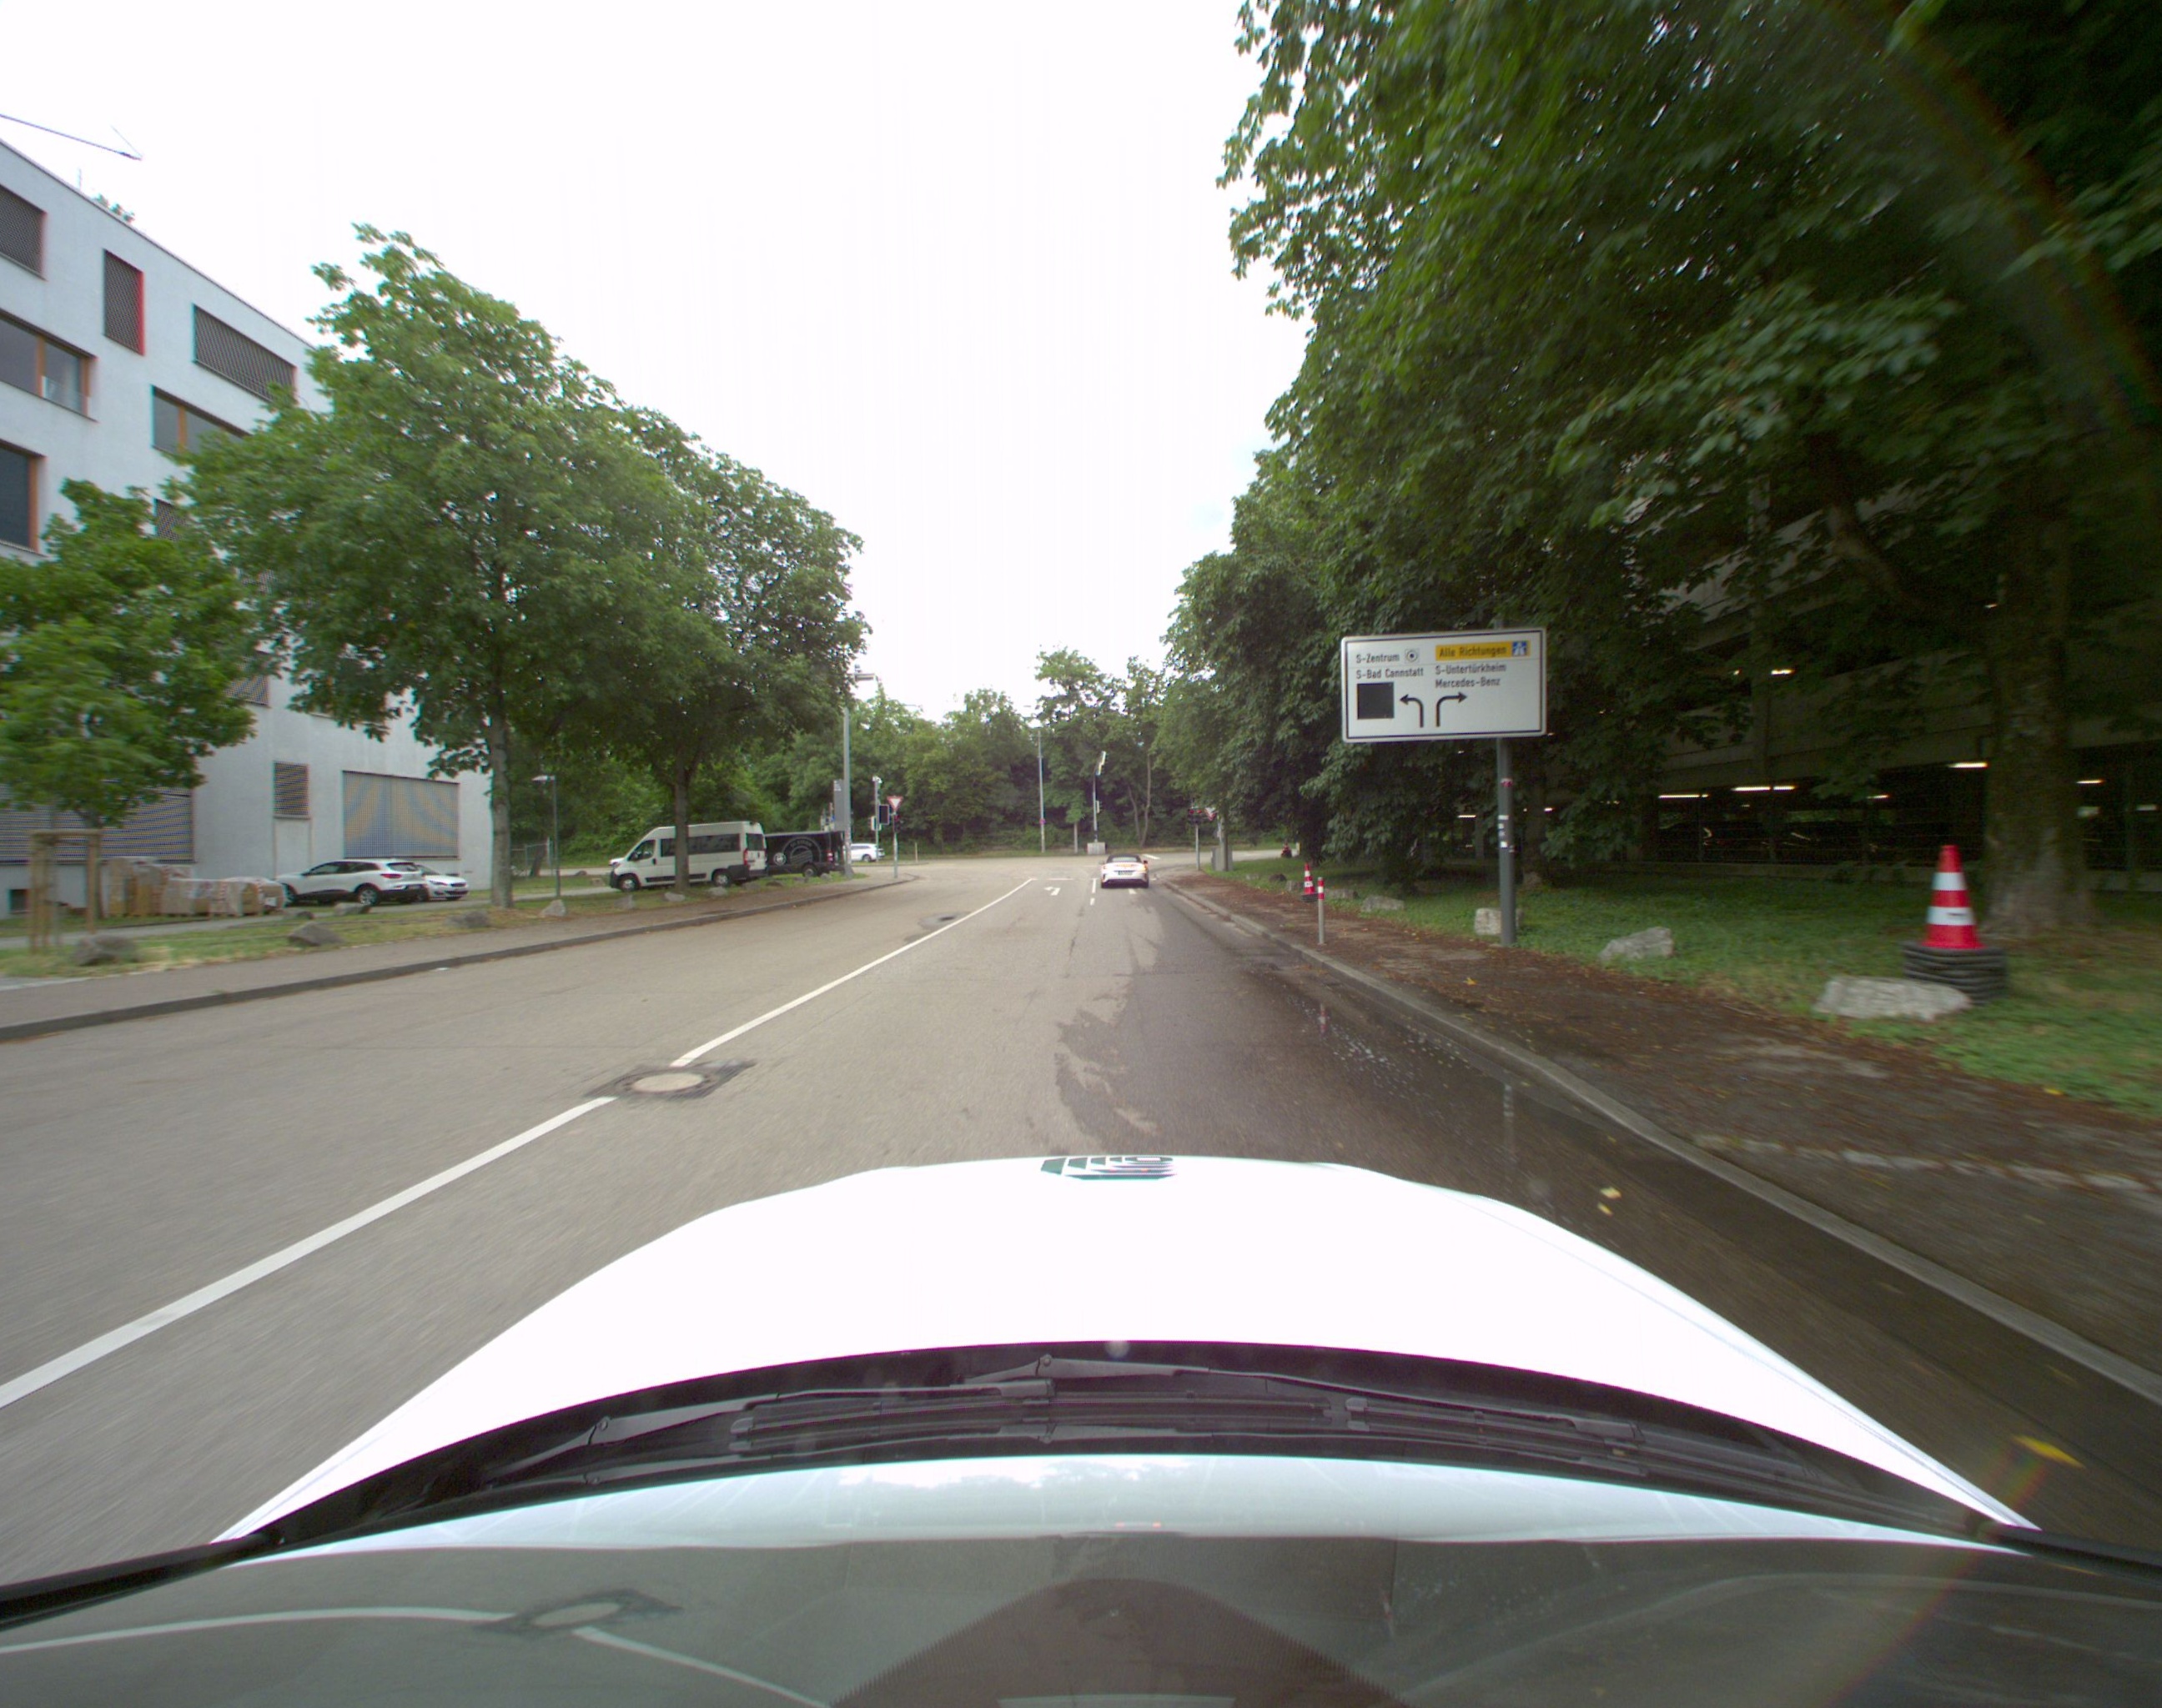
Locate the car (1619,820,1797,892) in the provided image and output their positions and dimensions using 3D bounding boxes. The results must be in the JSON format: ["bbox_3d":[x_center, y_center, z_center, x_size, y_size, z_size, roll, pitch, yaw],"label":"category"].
[{"bbox_3d":[19.186,0.101,25.253,1.986,2.014,4.675,0,-1,1],"label":"car"}]

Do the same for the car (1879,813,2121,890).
[{"bbox_3d":[22.162,-0.018,19.878,1.711,1.680,3.701,0,-1,0],"label":"car"}]

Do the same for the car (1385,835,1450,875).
[{"bbox_3d":[15.031,0.068,36.540,1.475,1.708,3.720,0,-1,2],"label":"car"}]

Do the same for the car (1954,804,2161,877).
[{"bbox_3d":[24.067,-0.255,19.799,1.711,1.607,3.701,0,-1,0],"label":"car"}]

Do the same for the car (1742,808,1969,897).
[{"bbox_3d":[19.178,0.006,20.469,1.985,2.014,4.002,0,-1,3],"label":"car"}]

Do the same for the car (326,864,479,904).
[{"bbox_3d":[-25.335,1.106,30.533,3.990,1.456,1.897,0,-1,-4],"label":"car"}]

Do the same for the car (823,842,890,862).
[{"bbox_3d":[-17.384,-0.158,63.221,4.663,1.456,1.897,0,-1,-4],"label":"car"}]

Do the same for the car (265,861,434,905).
[{"bbox_3d":[-25.139,0.980,28.112,3.990,1.456,1.897,0,-1,-4],"label":"car"}]

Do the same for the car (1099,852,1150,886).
[{"bbox_3d":[1.683,0.611,32.943,1.822,1.257,3.998,0,-1,-1],"label":"car"}]

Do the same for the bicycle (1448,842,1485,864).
[{"bbox_3d":[13.407,-0.026,28.376,0.446,0.736,1.492,0,-1,-6],"label":"bicycle"}]

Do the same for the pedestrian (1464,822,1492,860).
[{"bbox_3d":[13.768,-0.443,28.261,0.638,1.317,0.637,0,-1,0],"label":"pedestrian"}]

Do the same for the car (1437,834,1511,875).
[{"bbox_3d":[17.427,0.067,36.315,1.574,1.708,3.770,0,-1,2],"label":"car"}]

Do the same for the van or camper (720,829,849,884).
[{"bbox_3d":[-14.510,0.146,40.056,5.513,2.313,2.063,-3,-1,2],"label":"van or camper"}]

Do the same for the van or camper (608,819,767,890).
[{"bbox_3d":[-14.760,0.022,30.785,4.956,2.570,2.061,0,-1,-1],"label":"van or camper"}]

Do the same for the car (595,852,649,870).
[{"bbox_3d":[-35.242,0.546,62.570,3.291,1.421,1.499,0,-1,0],"label":"car"}]
